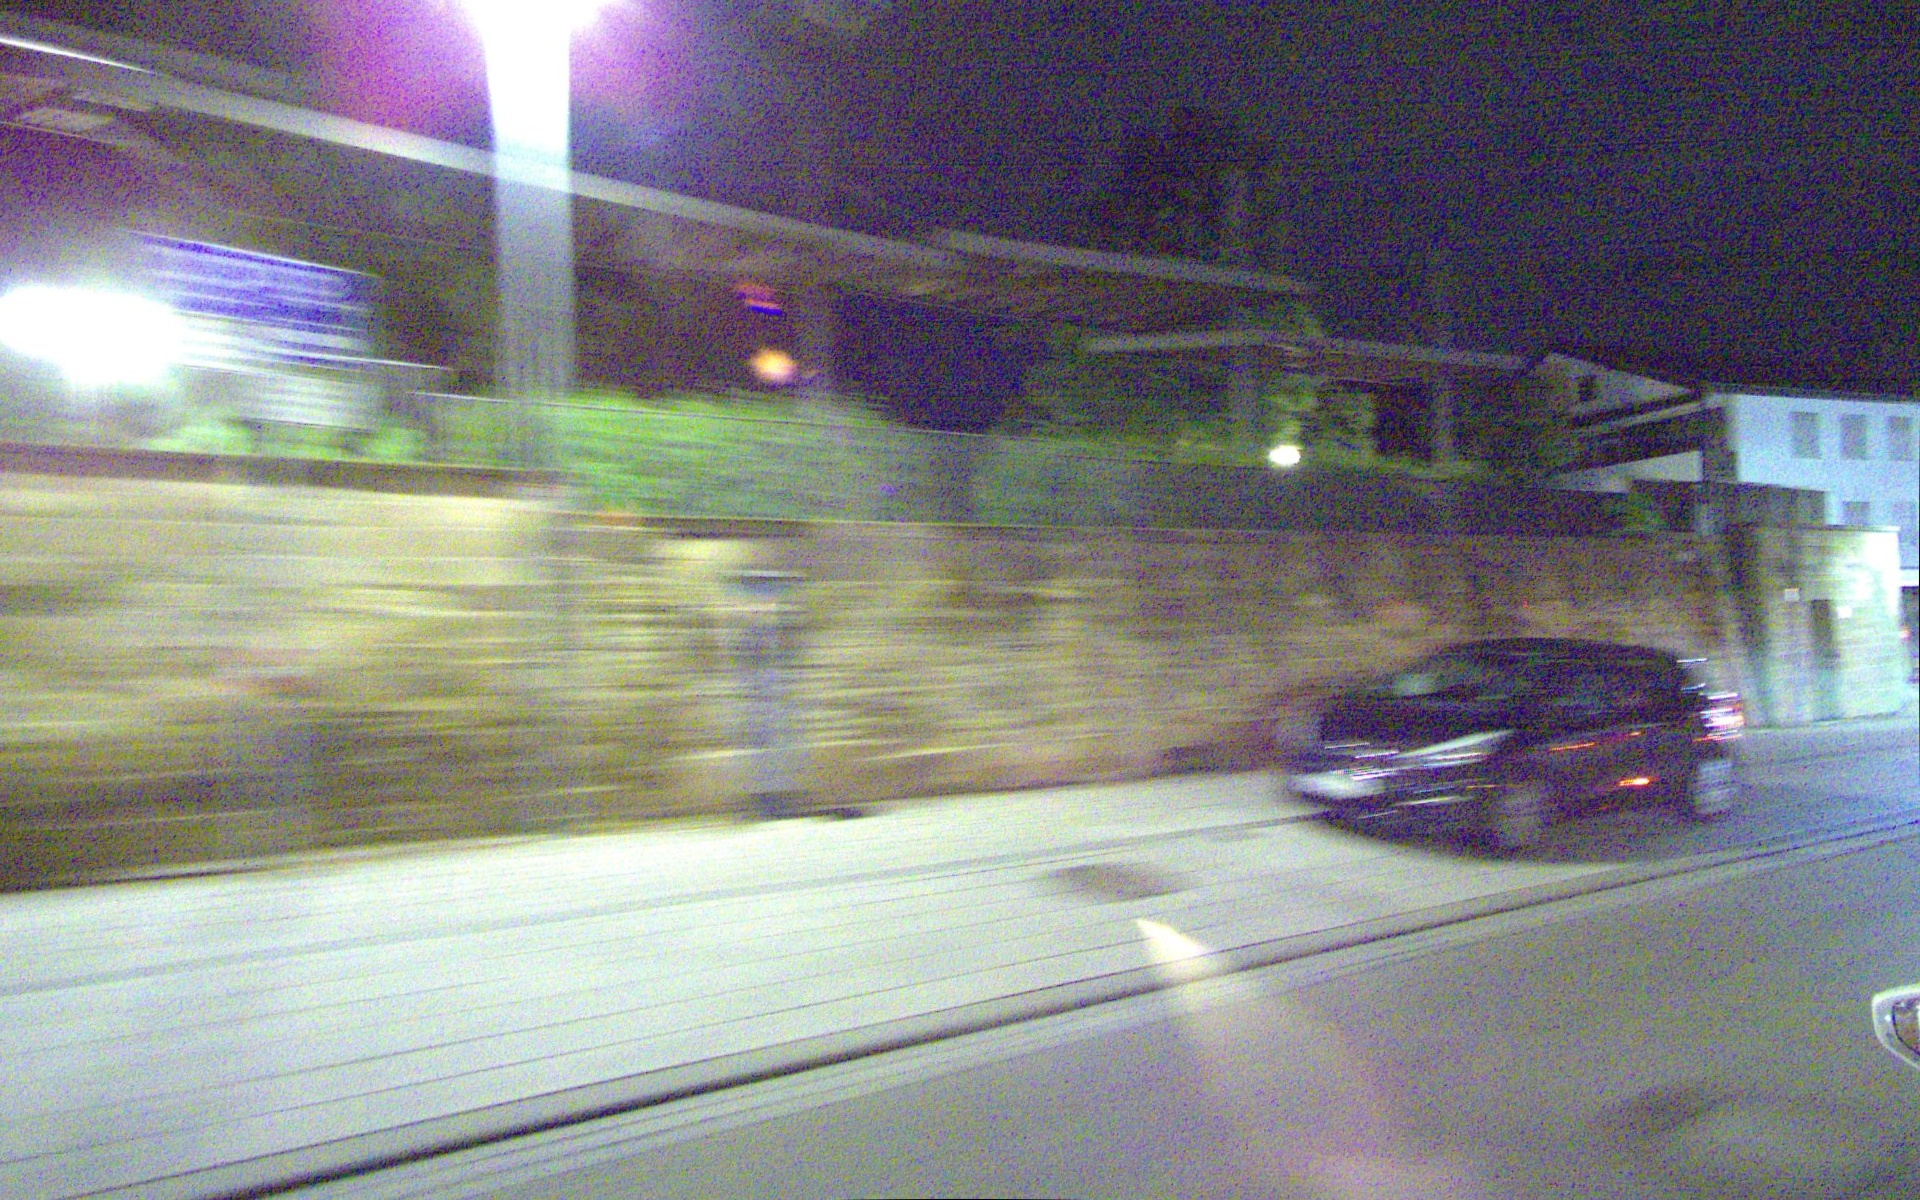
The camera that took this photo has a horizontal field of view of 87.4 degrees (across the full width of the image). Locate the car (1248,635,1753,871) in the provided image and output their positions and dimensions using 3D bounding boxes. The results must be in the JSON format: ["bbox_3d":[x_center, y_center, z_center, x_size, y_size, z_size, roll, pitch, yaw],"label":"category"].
[{"bbox_3d":[4.438,1.035,8.134,4.077,1.456,1.684,1,-1,-29],"label":"car"}]
